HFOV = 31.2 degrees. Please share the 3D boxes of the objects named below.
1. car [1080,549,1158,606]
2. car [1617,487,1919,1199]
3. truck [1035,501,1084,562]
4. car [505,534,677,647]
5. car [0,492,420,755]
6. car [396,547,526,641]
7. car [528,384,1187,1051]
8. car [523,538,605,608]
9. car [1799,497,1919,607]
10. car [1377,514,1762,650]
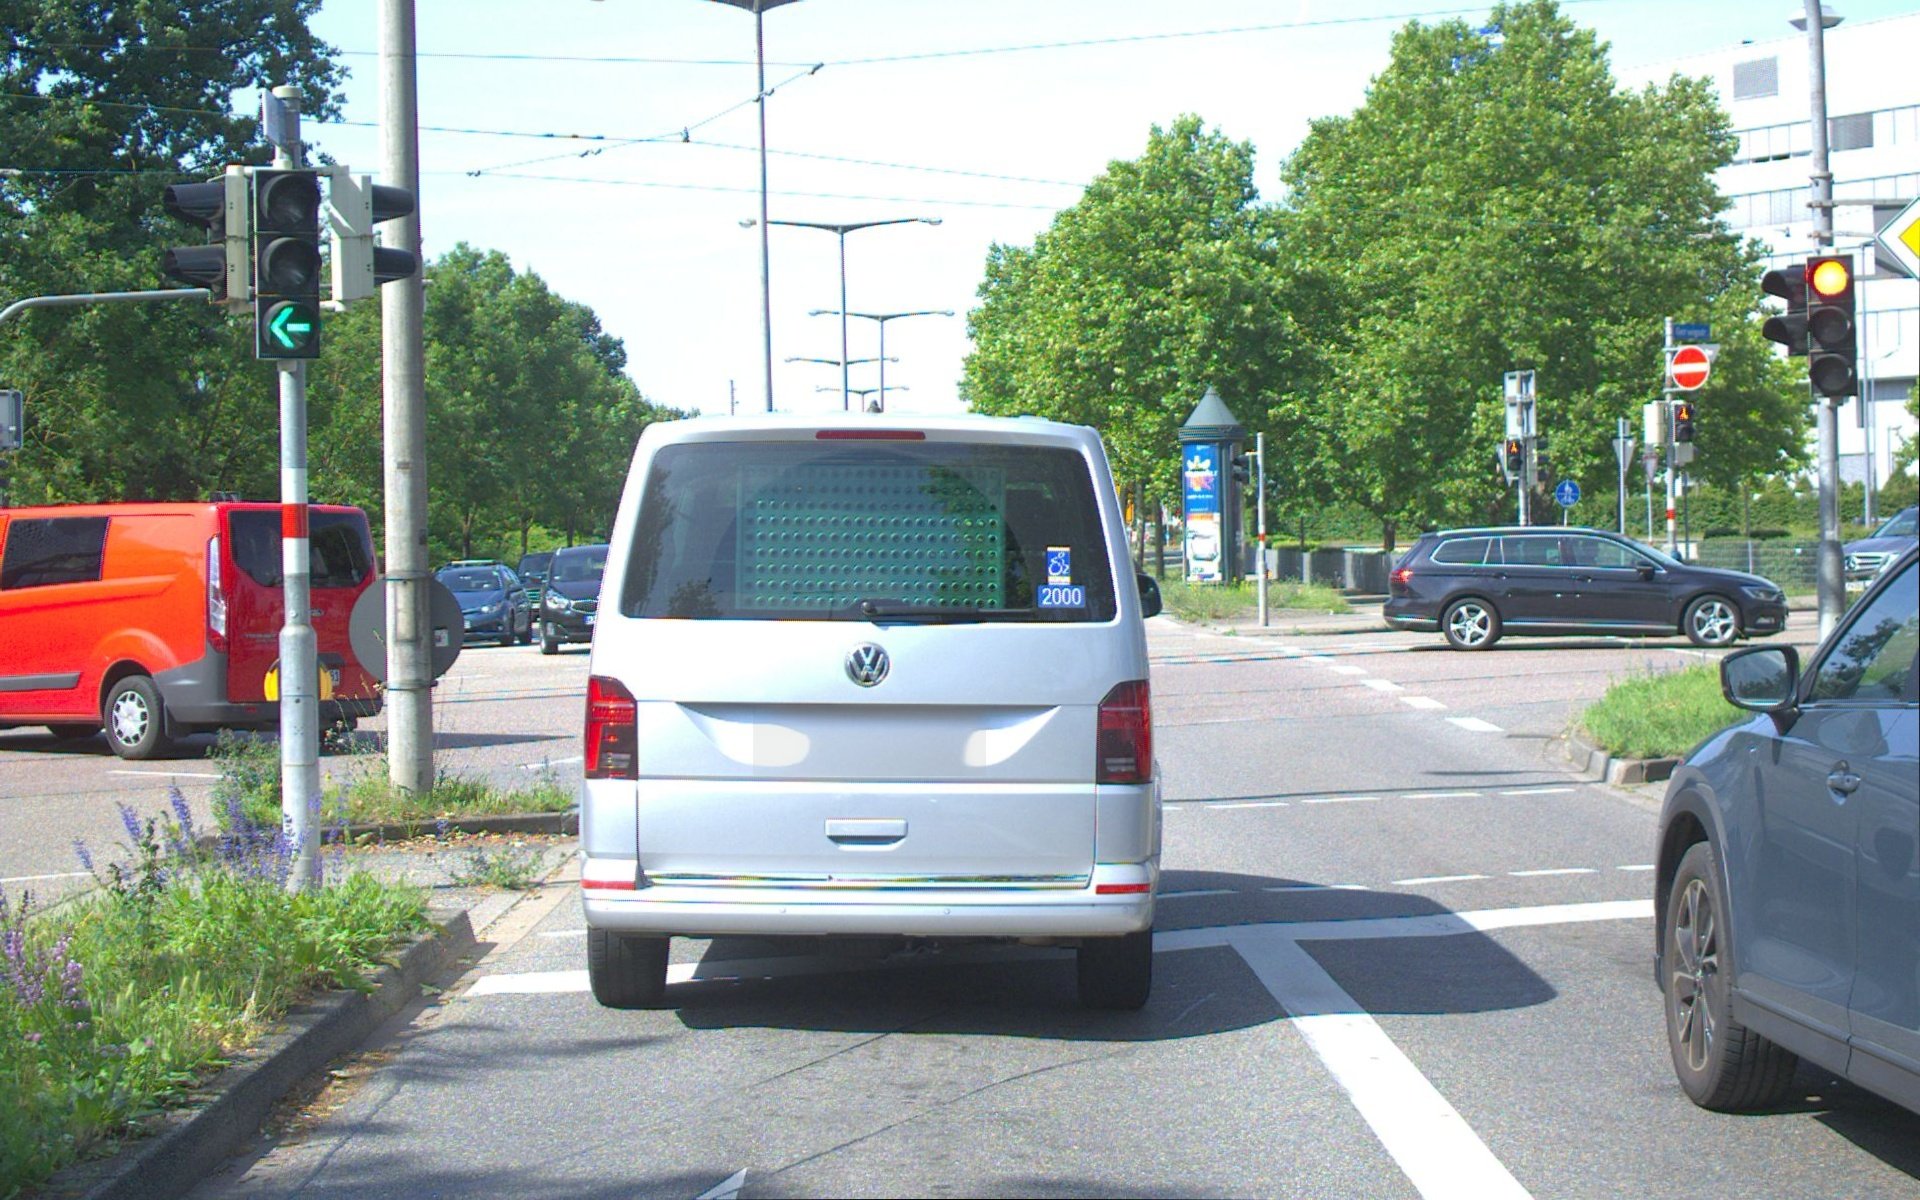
[{"bbox_3d":[3.719,-0.538,80.115,1.643,1.232,3.252,-1,1,5],"label":"car"},{"bbox_3d":[2.860,0.592,7.854,1.766,1.653,4.496,1,1,-1],"label":"car"},{"bbox_3d":[7.367,-5.051,253.660,3.191,4.340,13.146,-1,1,3],"label":"truck"},{"bbox_3d":[-5.649,-0.162,52.182,1.808,1.600,4.379,-2,1,-16],"label":"car"},{"bbox_3d":[-6.609,0.162,27.388,4.555,1.918,1.970,0,1,39],"label":"car"},{"bbox_3d":[-8.837,-0.133,61.167,1.849,1.556,4.001,-1,1,-2],"label":"car"},{"bbox_3d":[-0.312,0.312,12.720,1.941,1.965,5.022,0,1,0],"label":"car"},{"bbox_3d":[-10.630,-0.739,92.397,1.849,1.808,4.001,-1,1,-2],"label":"car"},{"bbox_3d":[15.662,-0.798,54.736,4.612,1.683,1.915,-2,1,-36],"label":"car"},{"bbox_3d":[7.288,-0.216,41.021,4.382,1.505,1.850,-1,1,14],"label":"car"}]
